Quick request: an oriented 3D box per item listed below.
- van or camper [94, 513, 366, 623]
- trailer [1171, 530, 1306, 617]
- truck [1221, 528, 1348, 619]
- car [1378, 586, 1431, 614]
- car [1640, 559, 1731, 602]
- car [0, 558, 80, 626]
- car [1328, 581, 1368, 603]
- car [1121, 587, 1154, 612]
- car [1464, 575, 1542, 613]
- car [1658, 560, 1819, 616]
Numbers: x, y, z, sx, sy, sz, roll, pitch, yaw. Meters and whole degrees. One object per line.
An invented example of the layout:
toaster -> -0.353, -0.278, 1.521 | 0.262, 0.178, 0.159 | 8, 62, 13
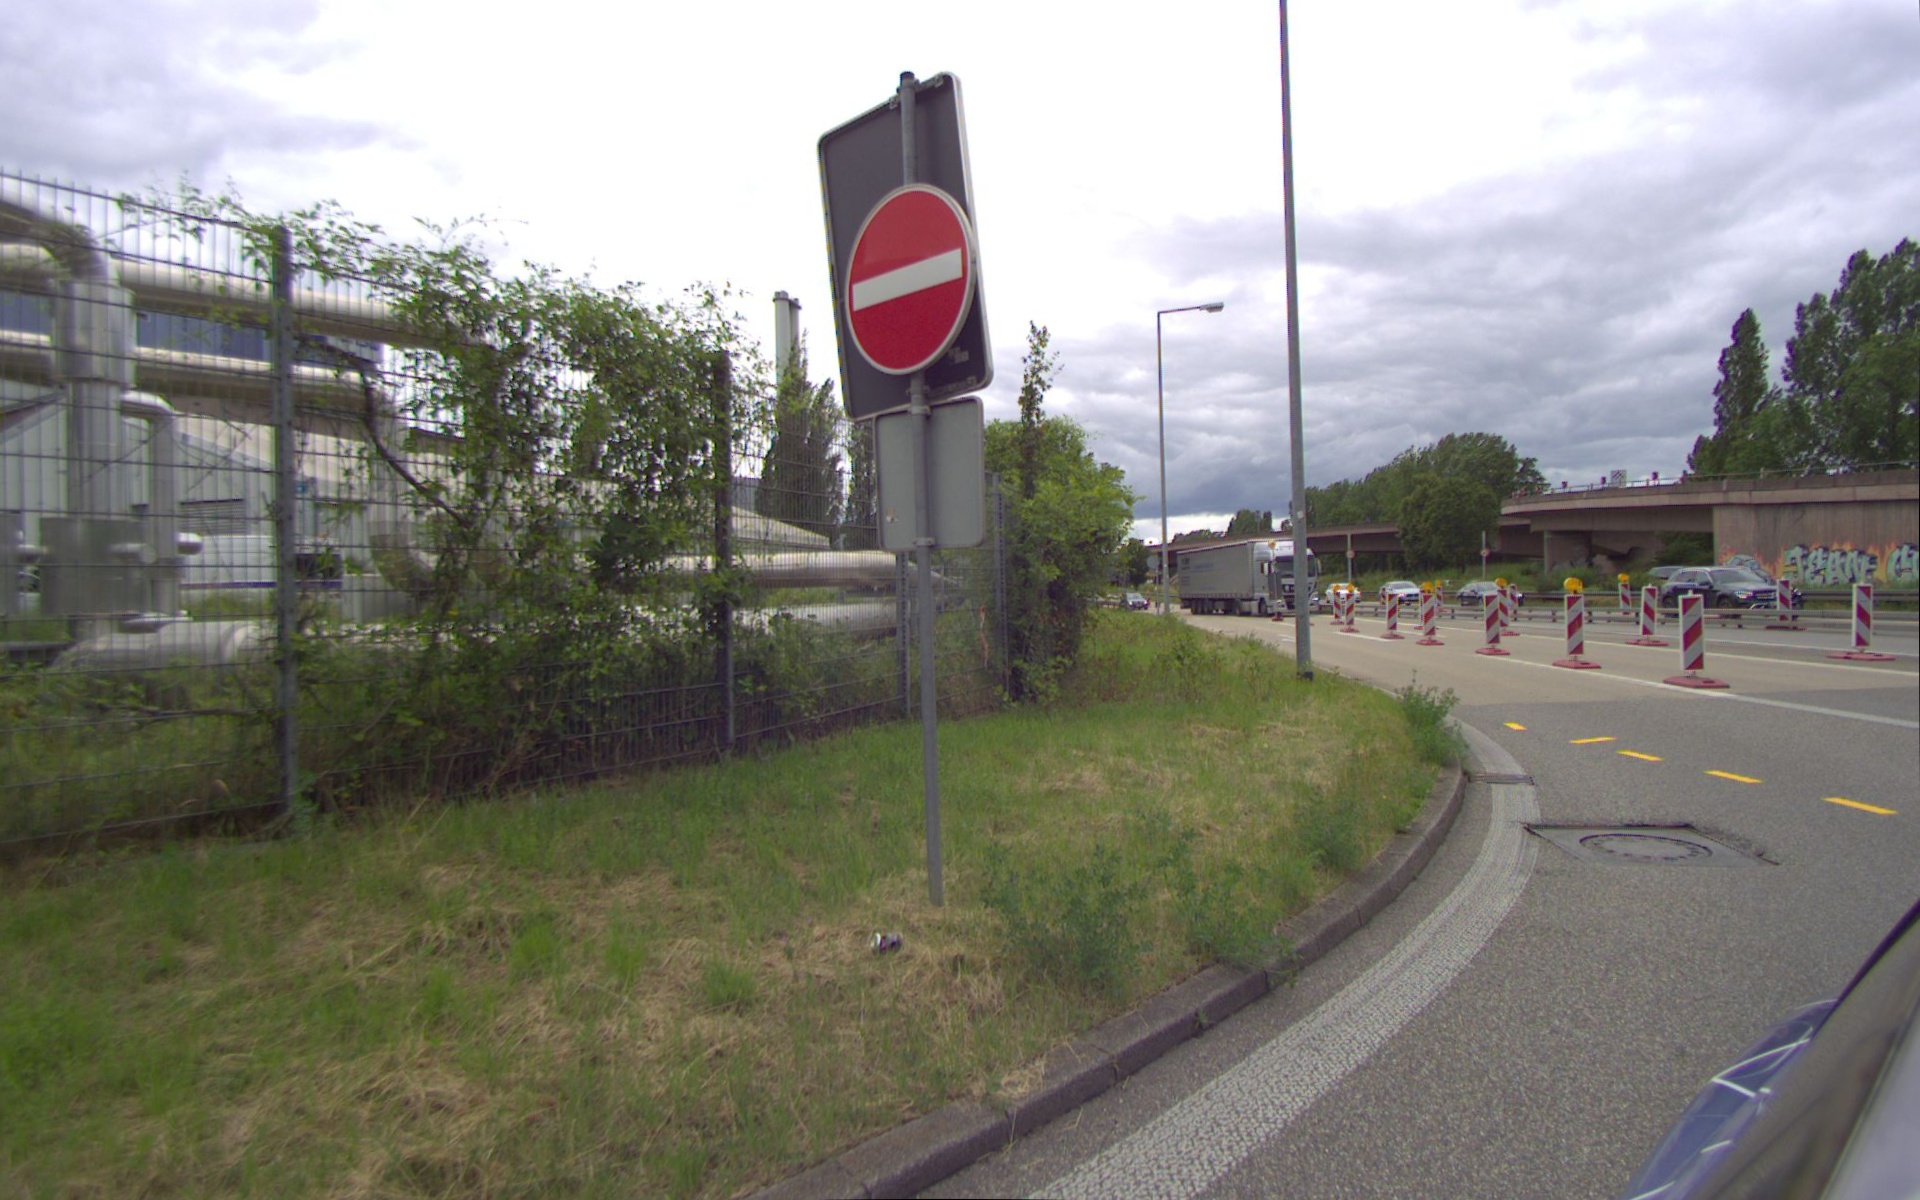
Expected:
van or camper -> -19.020, -0.794, 26.444 | 6.039, 2.580, 2.564 | -1, 1, 16
trailer -> 16.017, -1.442, 59.711 | 3.104, 4.378, 13.275 | -3, 0, -5
truck -> 16.603, -1.290, 52.576 | 3.102, 4.182, 8.149 | -4, 0, -5
car -> 27.172, -0.008, 61.973 | 1.772, 1.530, 3.996 | -1, 2, 5
car -> 36.934, -1.004, 51.660 | 1.967, 2.039, 4.277 | -2, 1, 8
car -> -29.555, -0.220, 30.489 | 1.967, 2.039, 4.329 | -1, 1, 9
car -> 29.475, -0.646, 77.018 | 1.966, 1.614, 3.992 | -1, 1, 8
car -> 14.885, -0.063, 84.931 | 1.961, 2.039, 4.001 | -1, 0, -1
car -> 26.455, -0.324, 49.458 | 1.903, 1.724, 3.995 | -2, 1, 5
car -> 23.659, -0.400, 30.985 | 1.947, 1.530, 4.285 | -2, 1, 7
